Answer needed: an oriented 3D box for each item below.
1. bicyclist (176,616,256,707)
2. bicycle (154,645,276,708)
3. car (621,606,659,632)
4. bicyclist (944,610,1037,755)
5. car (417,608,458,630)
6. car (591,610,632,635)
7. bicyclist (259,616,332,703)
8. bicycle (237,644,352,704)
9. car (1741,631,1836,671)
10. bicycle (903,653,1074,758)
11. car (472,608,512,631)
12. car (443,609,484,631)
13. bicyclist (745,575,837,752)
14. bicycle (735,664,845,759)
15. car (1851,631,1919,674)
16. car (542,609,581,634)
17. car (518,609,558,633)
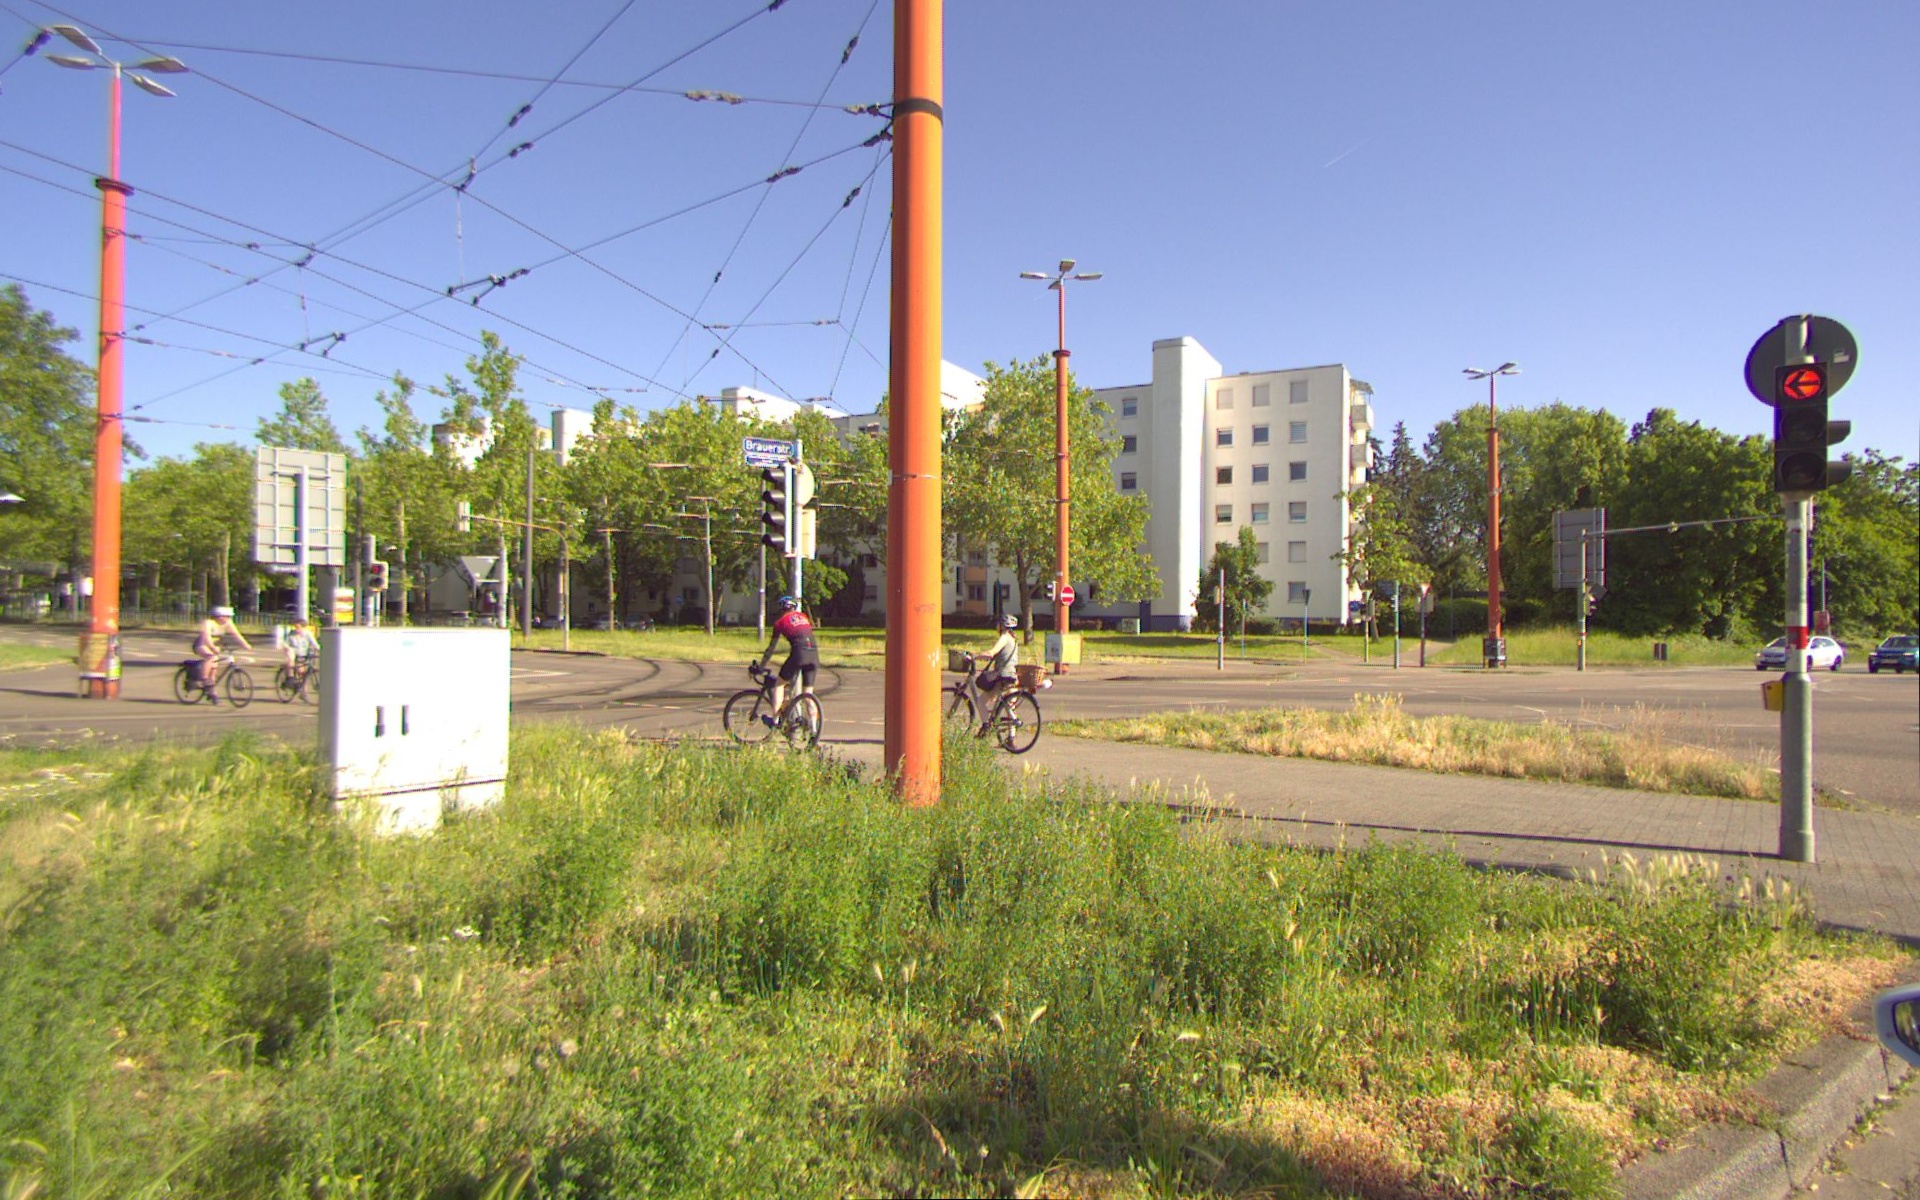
[{"bbox_3d":[-13.987,1.136,18.902,0.726,1.659,0.934,0,-1,18],"label":"bicyclist"},{"bbox_3d":[-14.013,1.415,18.901,1.849,1.102,0.928,0,-1,18],"label":"bicycle"},{"bbox_3d":[-23.384,1.403,73.423,1.963,1.840,3.995,1,-1,-8],"label":"car"},{"bbox_3d":[0.374,0.959,12.102,0.728,1.659,0.931,0,-1,35],"label":"bicyclist"},{"bbox_3d":[-46.003,1.680,88.484,1.963,1.840,3.995,1,-1,-8],"label":"car"},{"bbox_3d":[-26.090,1.690,75.335,1.962,1.840,3.997,1,-1,-5],"label":"car"},{"bbox_3d":[-13.196,1.164,19.974,0.726,1.659,0.934,0,-1,18],"label":"bicyclist"},{"bbox_3d":[-13.236,1.445,19.986,1.849,1.102,0.928,0,-1,18],"label":"bicycle"},{"bbox_3d":[35.161,2.152,42.608,4.075,1.594,1.983,1,-1,-32],"label":"car"},{"bbox_3d":[0.329,1.228,12.125,1.855,1.102,0.925,0,-1,34],"label":"bicycle"},{"bbox_3d":[-39.264,1.645,84.333,1.963,1.840,3.995,1,-1,-8],"label":"car"},{"bbox_3d":[-42.654,1.704,86.455,1.963,1.840,3.995,1,-1,-8],"label":"car"},{"bbox_3d":[-2.051,0.750,12.144,0.921,2.040,0.736,1,-1,-25],"label":"bicyclist"},{"bbox_3d":[-2.100,1.309,12.240,0.915,0.976,1.747,1,-1,-24],"label":"bicycle"},{"bbox_3d":[37.285,2.040,39.867,4.079,1.594,1.981,2,-1,-35],"label":"car"},{"bbox_3d":[-31.173,1.680,78.685,1.963,1.840,3.995,1,-1,-8],"label":"car"},{"bbox_3d":[-33.789,1.675,80.535,1.963,1.840,3.995,1,-1,-8],"label":"car"}]
